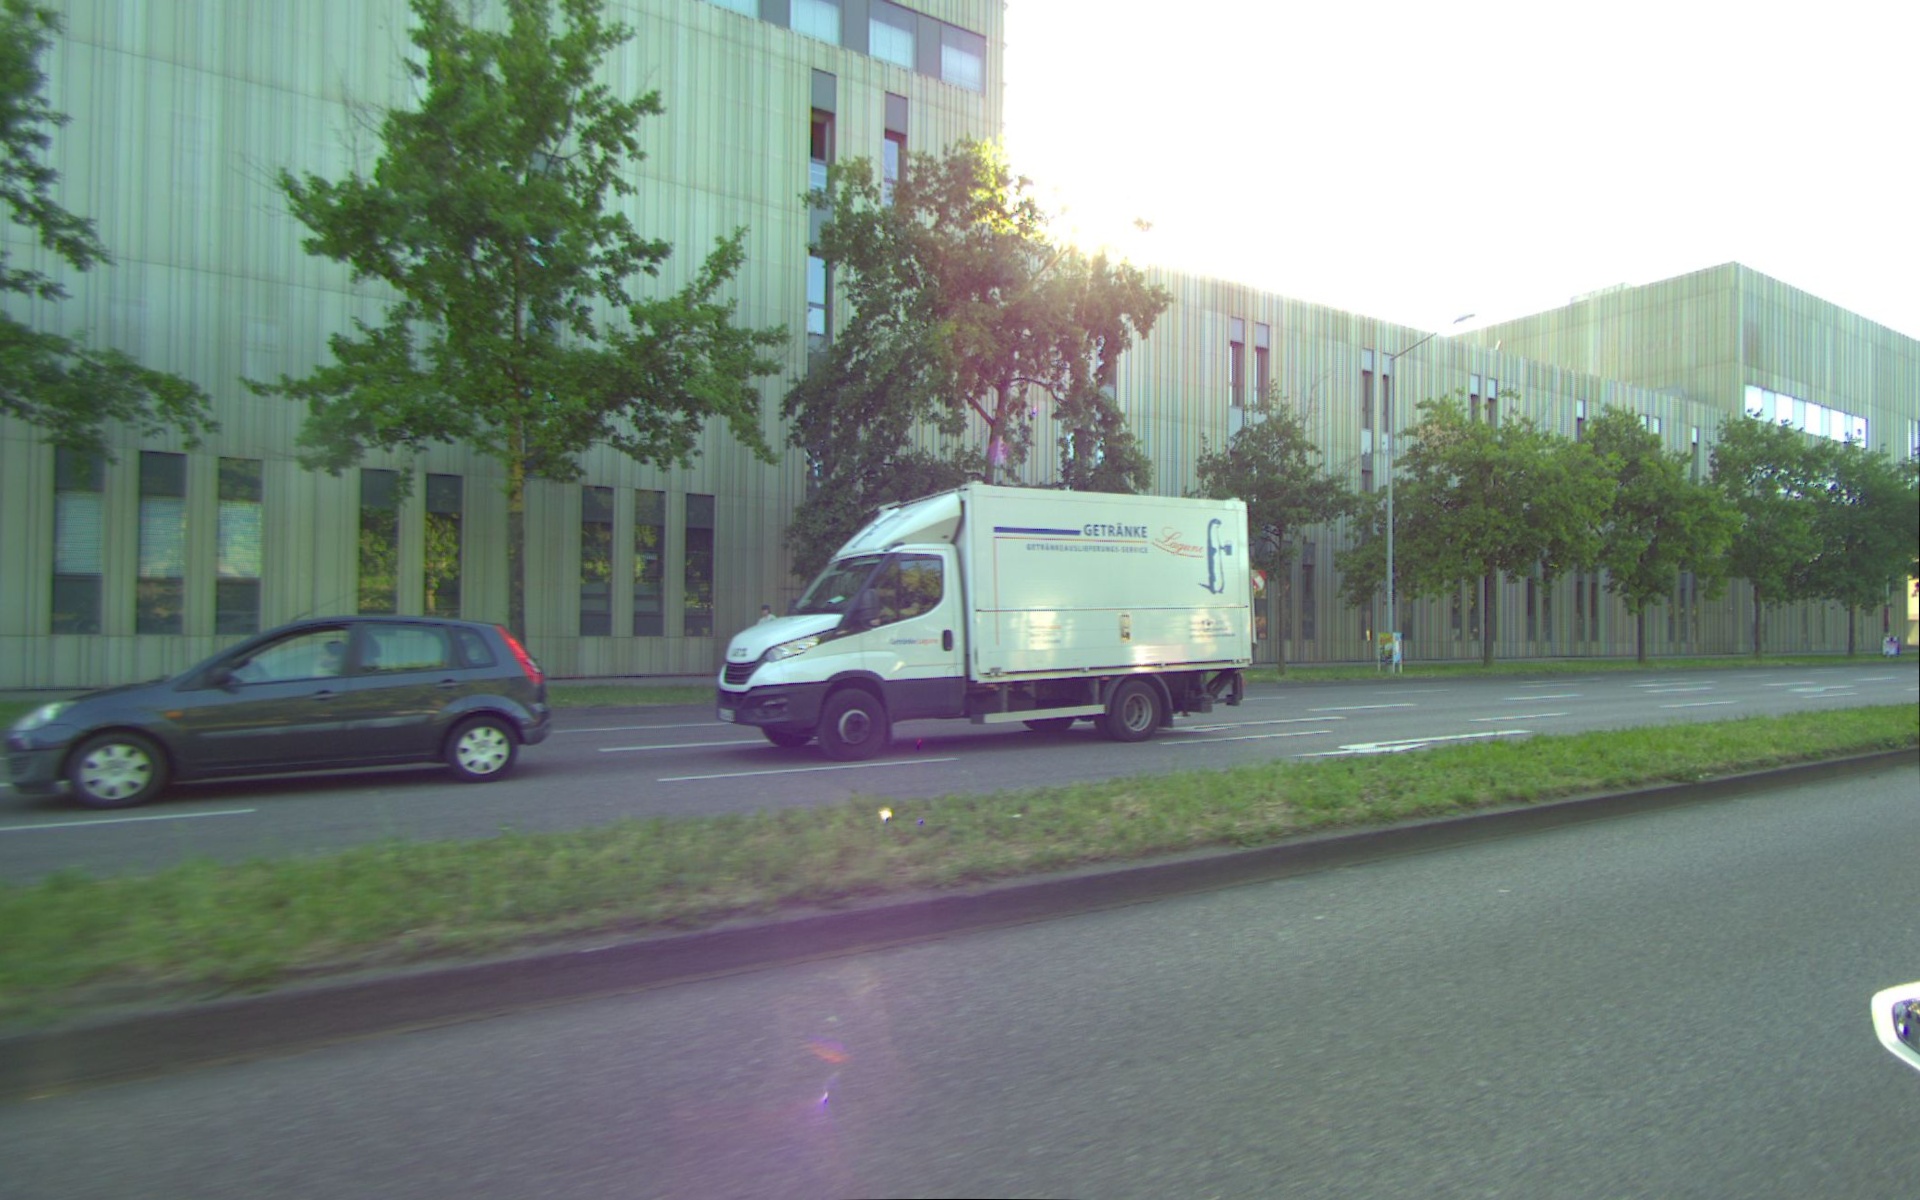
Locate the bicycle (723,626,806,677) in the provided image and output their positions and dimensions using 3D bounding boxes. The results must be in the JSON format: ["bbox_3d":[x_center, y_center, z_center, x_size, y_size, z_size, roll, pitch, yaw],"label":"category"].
[{"bbox_3d":[-5.060,1.317,26.130,2.076,1.287,0.509,1,-1,-32],"label":"bicycle"}]

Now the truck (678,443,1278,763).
[{"bbox_3d":[0.394,0.154,12.369,7.030,2.999,2.674,1,-3,-30],"label":"truck"}]

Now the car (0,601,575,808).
[{"bbox_3d":[-5.600,0.784,8.779,3.954,1.443,1.826,1,-2,-31],"label":"car"}]

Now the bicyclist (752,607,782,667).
[{"bbox_3d":[-5.025,0.961,26.154,0.637,1.527,0.505,1,-1,-31],"label":"bicyclist"}]
